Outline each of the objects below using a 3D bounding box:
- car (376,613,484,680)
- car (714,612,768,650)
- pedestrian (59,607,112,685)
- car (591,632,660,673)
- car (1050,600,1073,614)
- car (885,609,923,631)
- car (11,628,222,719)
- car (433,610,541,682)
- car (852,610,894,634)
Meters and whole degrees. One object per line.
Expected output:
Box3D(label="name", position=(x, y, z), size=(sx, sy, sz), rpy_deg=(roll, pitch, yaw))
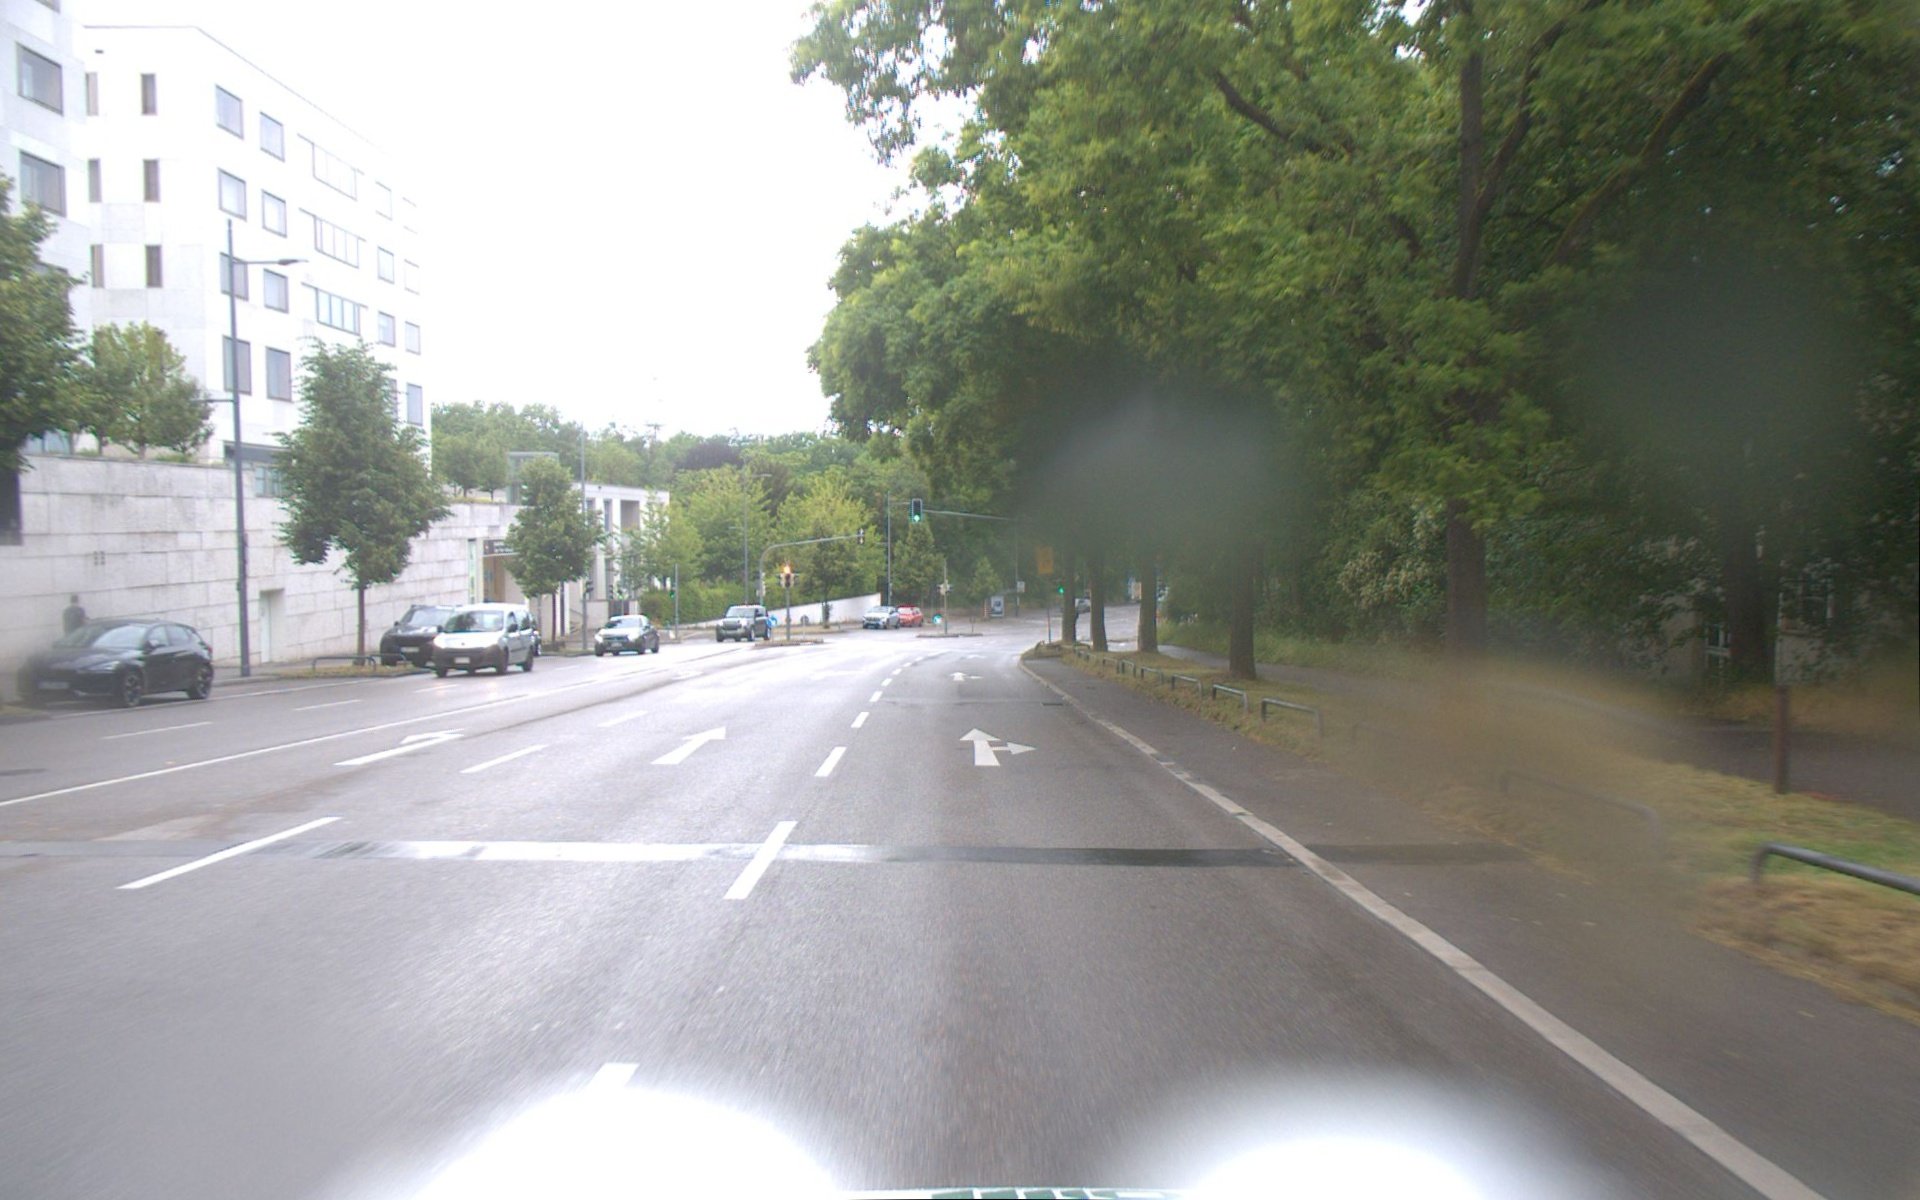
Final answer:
Box3D(label="car", position=(-15.219, 1.318, 47.716), size=(1.820, 1.812, 4.594), rpy_deg=(-1, -1, -3))
Box3D(label="car", position=(-11.678, 1.629, 88.498), size=(1.880, 1.890, 4.508), rpy_deg=(-4, -1, 4))
Box3D(label="pedestrian", position=(-20.592, 1.083, 38.963), size=(0.693, 1.806, 1.021), rpy_deg=(0, -1, -1))
Box3D(label="car", position=(-12.467, 1.928, 61.875), size=(1.734, 1.405, 4.189), rpy_deg=(-2, -1, -1))
Box3D(label="car", position=(11.205, 0.786, 183.003), size=(1.677, 1.486, 3.752), rpy_deg=(1, -1, 18))
Box3D(label="car", position=(-4.376, 1.615, 130.932), size=(1.835, 1.602, 4.226), rpy_deg=(2, 0, 14))
Box3D(label="car", position=(-14.676, 1.238, 29.034), size=(1.645, 1.451, 3.964), rpy_deg=(1, -1, 0))
Box3D(label="car", position=(-12.258, 1.152, 43.106), size=(1.675, 1.777, 4.336), rpy_deg=(0, -1, -2))
Box3D(label="car", position=(-6.478, 1.668, 123.506), size=(1.814, 1.668, 4.096), rpy_deg=(3, 0, 16))
